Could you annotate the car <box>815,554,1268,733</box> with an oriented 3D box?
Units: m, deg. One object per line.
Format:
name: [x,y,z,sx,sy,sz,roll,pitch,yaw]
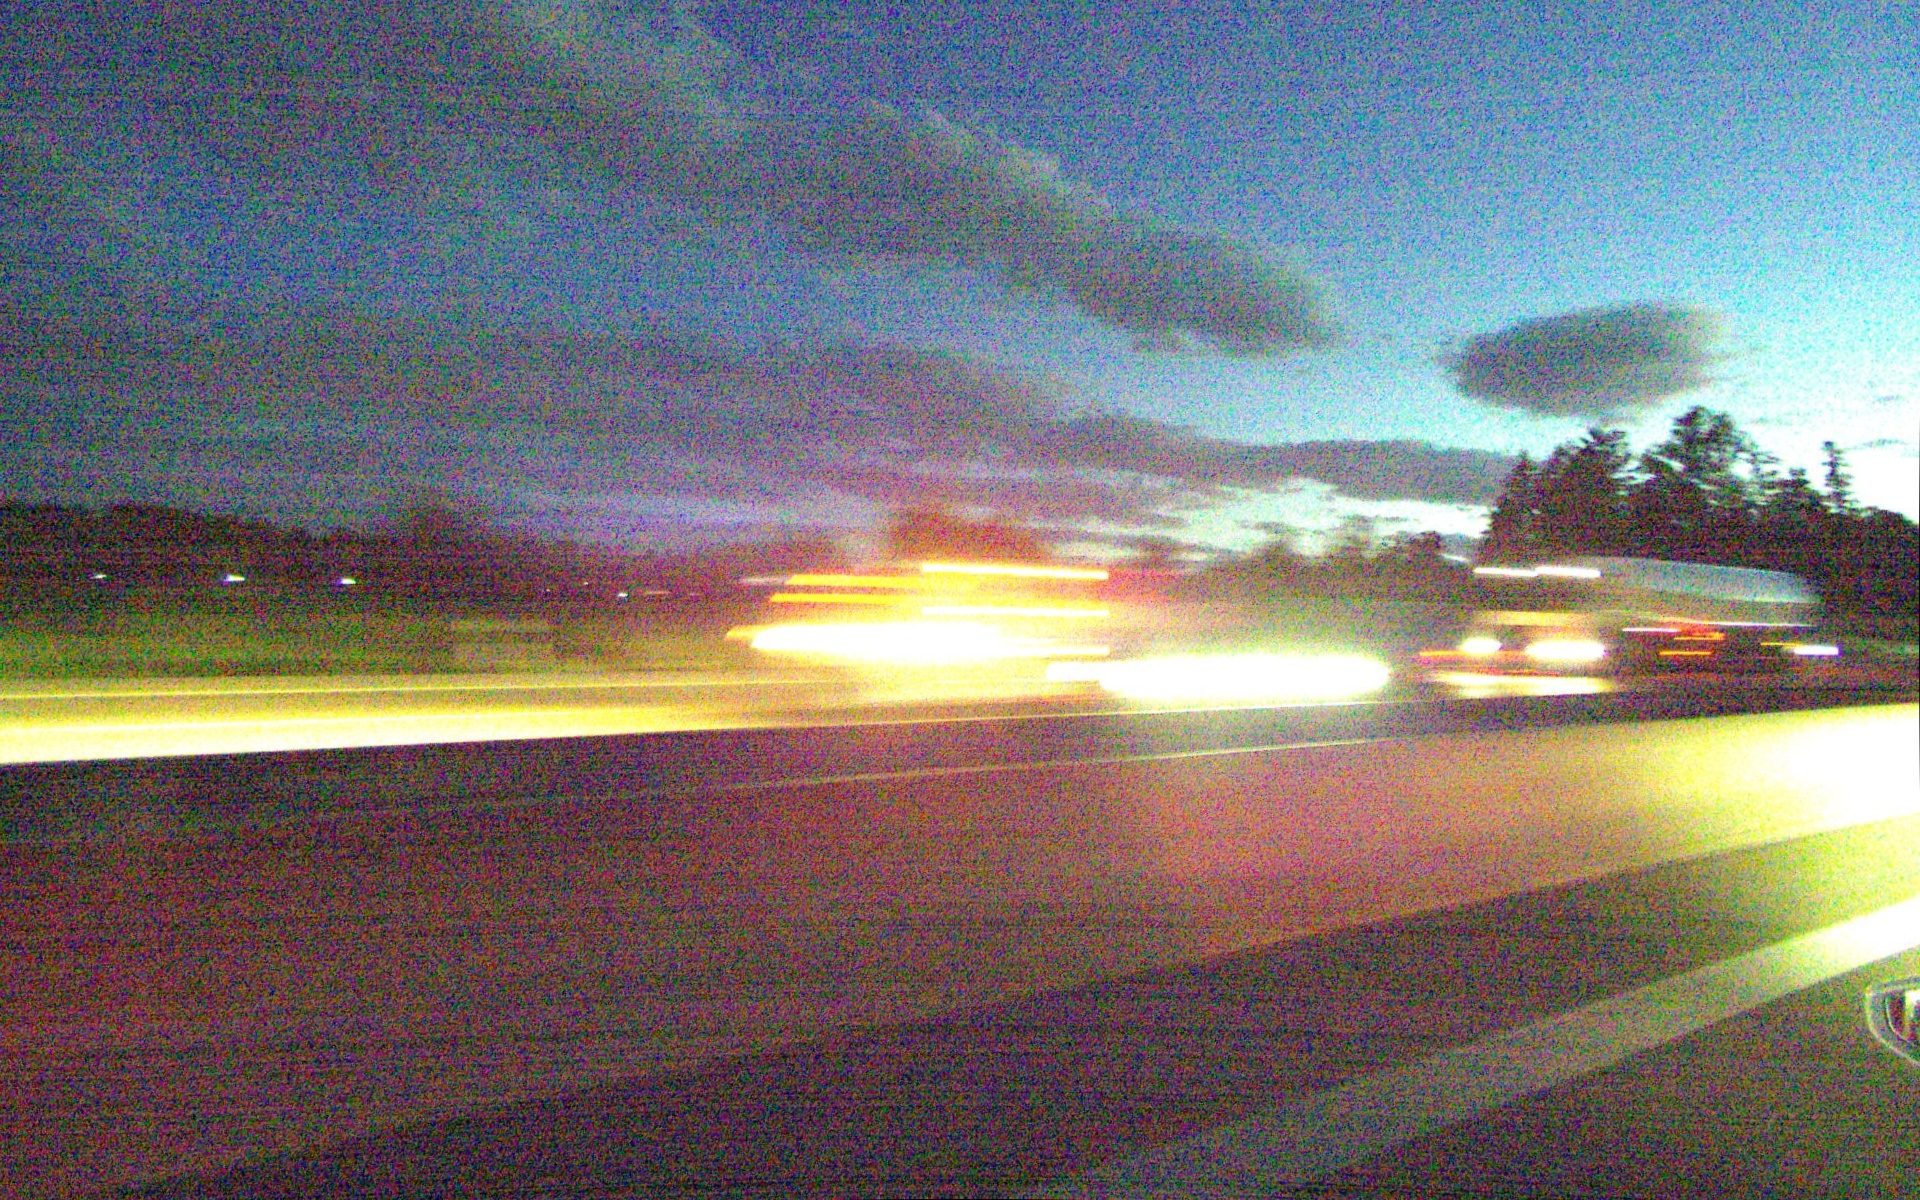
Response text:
car: [1.428,0.629,15.144,6.885,2.227,2.042,2,-1,-30]

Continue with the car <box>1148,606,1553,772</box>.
car: [4.736,0.959,12.066,4.639,1.644,2.056,2,-1,-29]

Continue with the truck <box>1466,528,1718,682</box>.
truck: [18.687,0.227,29.674,6.693,4.060,3.422,2,0,-29]

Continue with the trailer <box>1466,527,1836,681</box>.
trailer: [22.127,0.320,31.599,14.581,4.060,3.422,2,0,-29]
